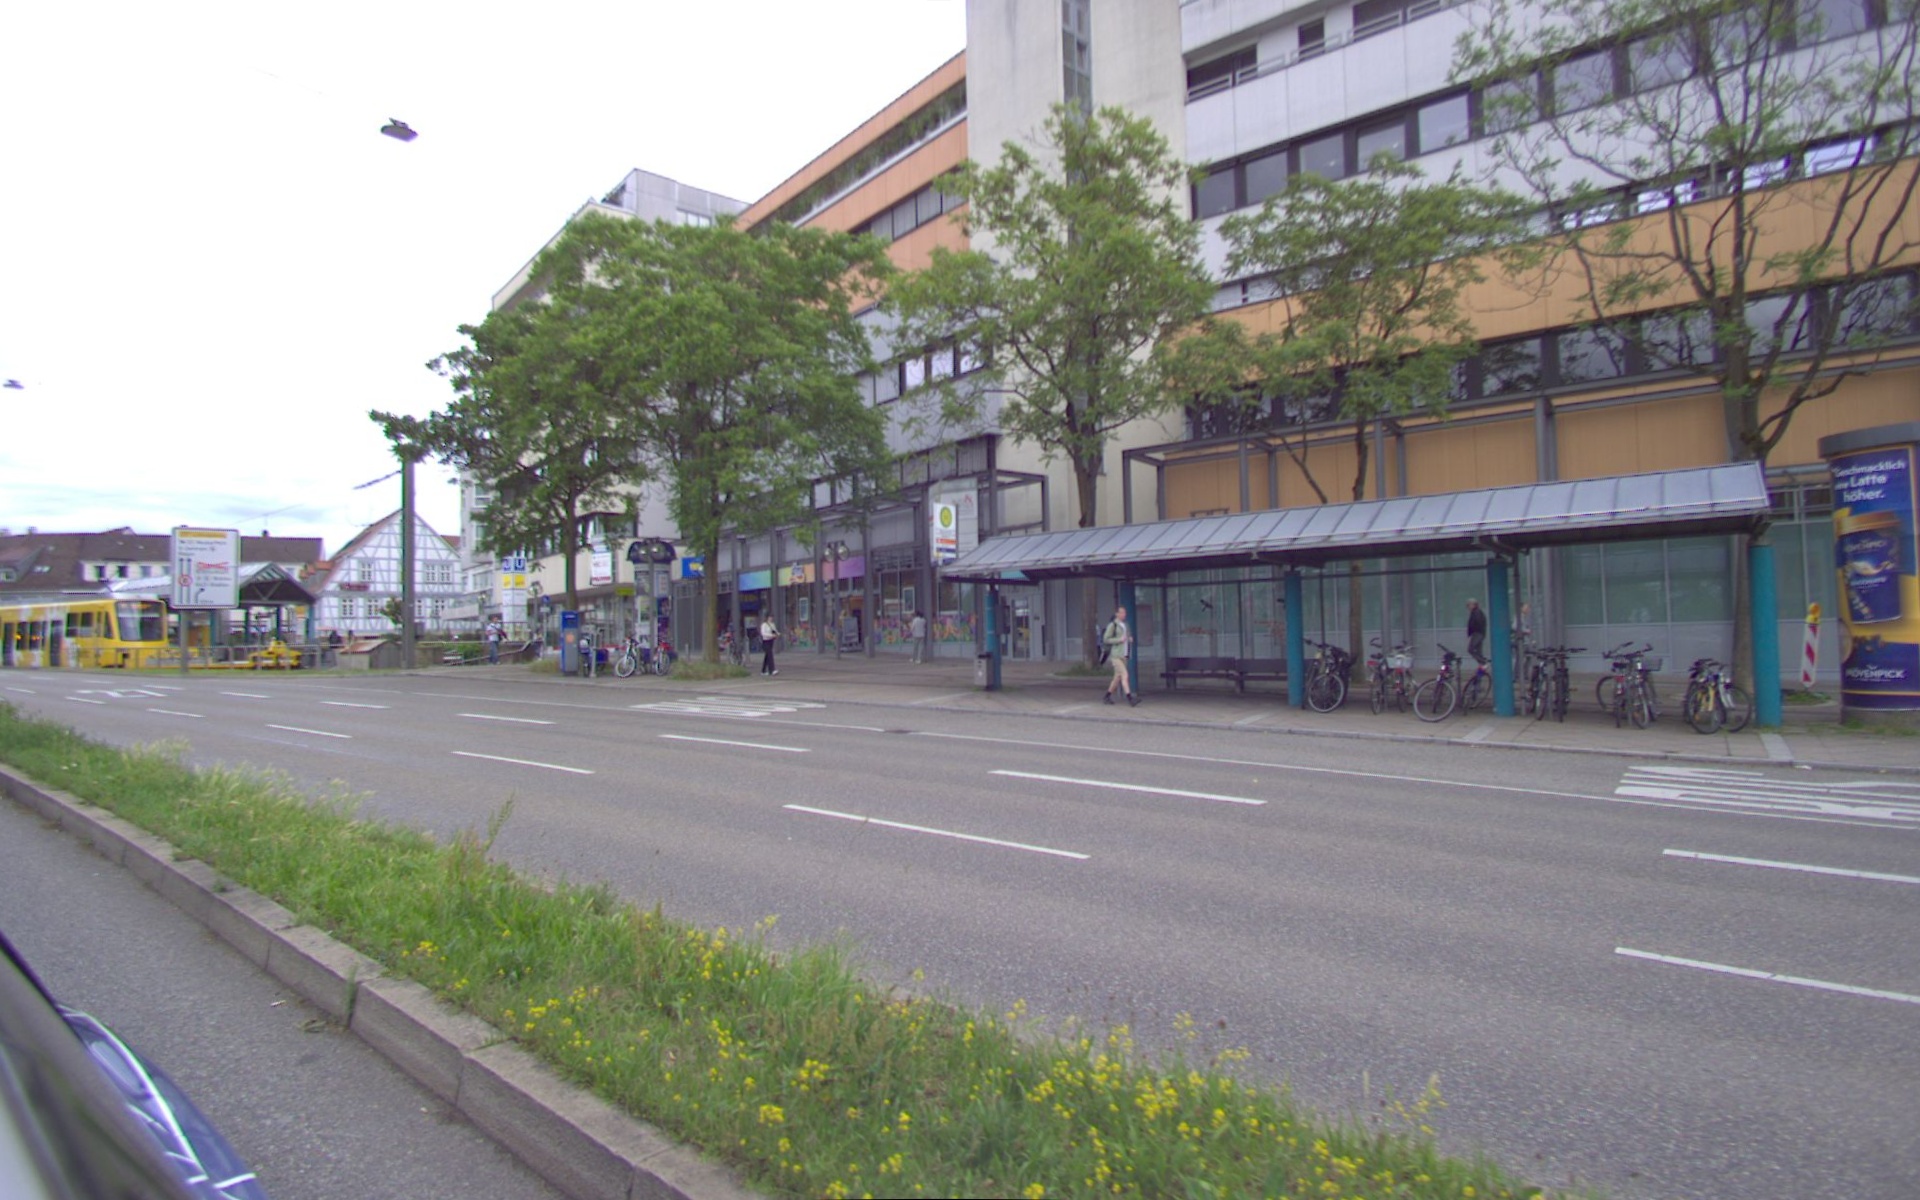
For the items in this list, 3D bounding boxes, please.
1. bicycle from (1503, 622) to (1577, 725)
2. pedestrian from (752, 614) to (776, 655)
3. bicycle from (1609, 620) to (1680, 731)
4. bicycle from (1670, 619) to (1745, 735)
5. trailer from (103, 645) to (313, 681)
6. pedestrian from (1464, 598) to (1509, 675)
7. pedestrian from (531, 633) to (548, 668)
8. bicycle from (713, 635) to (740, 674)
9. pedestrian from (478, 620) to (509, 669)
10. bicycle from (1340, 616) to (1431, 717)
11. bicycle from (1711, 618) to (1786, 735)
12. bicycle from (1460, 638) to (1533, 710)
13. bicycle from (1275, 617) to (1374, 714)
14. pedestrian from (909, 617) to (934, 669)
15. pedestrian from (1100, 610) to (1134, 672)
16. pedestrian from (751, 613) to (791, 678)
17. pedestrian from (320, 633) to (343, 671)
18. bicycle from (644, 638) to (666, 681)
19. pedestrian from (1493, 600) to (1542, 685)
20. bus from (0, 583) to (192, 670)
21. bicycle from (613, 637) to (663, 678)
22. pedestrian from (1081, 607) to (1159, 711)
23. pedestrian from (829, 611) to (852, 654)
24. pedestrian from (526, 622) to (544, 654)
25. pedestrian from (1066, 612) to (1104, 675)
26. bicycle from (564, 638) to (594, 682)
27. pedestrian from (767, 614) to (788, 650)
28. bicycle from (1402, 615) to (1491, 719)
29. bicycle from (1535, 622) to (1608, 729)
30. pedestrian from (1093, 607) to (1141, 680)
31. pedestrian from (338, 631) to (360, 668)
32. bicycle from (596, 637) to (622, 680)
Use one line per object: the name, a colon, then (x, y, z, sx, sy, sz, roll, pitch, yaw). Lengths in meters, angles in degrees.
bicycle: (9.396, 1.125, 16.332, 0.803, 1.518, 2.874, -2, -3, 34)
pedestrian: (-8.338, 1.484, 43.082, 0.633, 1.711, 0.698, -2, -1, 34)
bicycle: (10.295, 1.081, 15.249, 0.776, 1.518, 2.874, -2, -3, 34)
bicycle: (10.842, 1.060, 14.753, 0.698, 1.518, 2.874, -2, -3, 34)
trailer: (-32.391, 2.689, 43.320, 12.080, 1.343, 2.820, -2, -3, 31)
pedestrian: (12.194, 0.844, 23.433, 0.788, 1.729, 0.763, -2, 0, 34)
pedestrian: (-20.755, 2.488, 49.938, 0.627, 1.713, 0.545, -2, -3, 33)
bicycle: (-7.274, 1.700, 31.598, 0.663, 1.170, 2.022, 0, -2, -9)
pedestrian: (-18.281, 1.754, 39.661, 0.872, 1.892, 0.738, -2, -3, 34)
bicycle: (7.452, 1.093, 17.616, 0.889, 1.518, 2.875, -2, 0, 34)
bicycle: (11.283, 1.044, 14.545, 0.597, 1.518, 2.874, -2, -3, 34)
bicycle: (9.280, 1.230, 17.438, 0.803, 1.121, 2.874, -2, -3, 34)
bicycle: (6.547, 1.106, 18.055, 0.970, 1.518, 2.875, -2, -1, 34)
pedestrian: (-1.237, 1.375, 32.606, 0.623, 1.612, 0.624, -2, -1, -17)
pedestrian: (4.207, 1.084, 27.056, 0.622, 1.612, 0.626, -2, -1, 39)
pedestrian: (-5.224, 1.247, 27.928, 0.705, 1.726, 0.768, -2, 0, 37)
pedestrian: (-26.721, 2.208, 43.010, 0.618, 1.586, 0.594, -2, -3, 32)
bicycle: (-8.665, 1.675, 28.749, 0.594, 1.170, 1.694, 0, -2, -17)
pedestrian: (11.686, 0.878, 21.212, 0.787, 1.729, 0.764, -2, 0, 34)
bus: (-45.800, 1.533, 51.399, 19.268, 3.889, 3.849, -2, -3, 31)
bicycle: (-9.542, 1.697, 29.929, 0.596, 1.170, 1.967, 2, -3, -44)
pedestrian: (2.940, 1.051, 18.594, 1.212, 1.836, 0.697, -1, 0, 39)
pedestrian: (-4.754, 1.296, 40.306, 0.667, 1.713, 0.644, -2, -3, 34)
pedestrian: (-22.950, 2.048, 54.638, 0.627, 1.713, 0.685, -2, -3, 33)
pedestrian: (3.274, 1.130, 26.453, 0.705, 1.595, 0.660, -2, 0, 37)
bicycle: (-10.884, 1.697, 28.951, 0.594, 1.170, 1.971, -2, -1, -15)
pedestrian: (-8.982, 1.581, 49.893, 0.705, 1.729, 0.698, -2, 0, 34)
bicycle: (8.189, 1.054, 16.952, 0.810, 1.518, 2.873, -2, 0, 36)
bicycle: (9.545, 1.111, 15.742, 0.803, 1.518, 2.874, -2, -3, 34)
pedestrian: (3.822, 1.041, 24.630, 0.763, 1.729, 0.789, -2, 0, -30)
pedestrian: (-26.478, 2.151, 43.876, 0.618, 1.586, 0.594, -2, -3, 32)
bicycle: (-10.015, 1.661, 28.878, 0.594, 1.170, 1.971, 0, -2, -16)
